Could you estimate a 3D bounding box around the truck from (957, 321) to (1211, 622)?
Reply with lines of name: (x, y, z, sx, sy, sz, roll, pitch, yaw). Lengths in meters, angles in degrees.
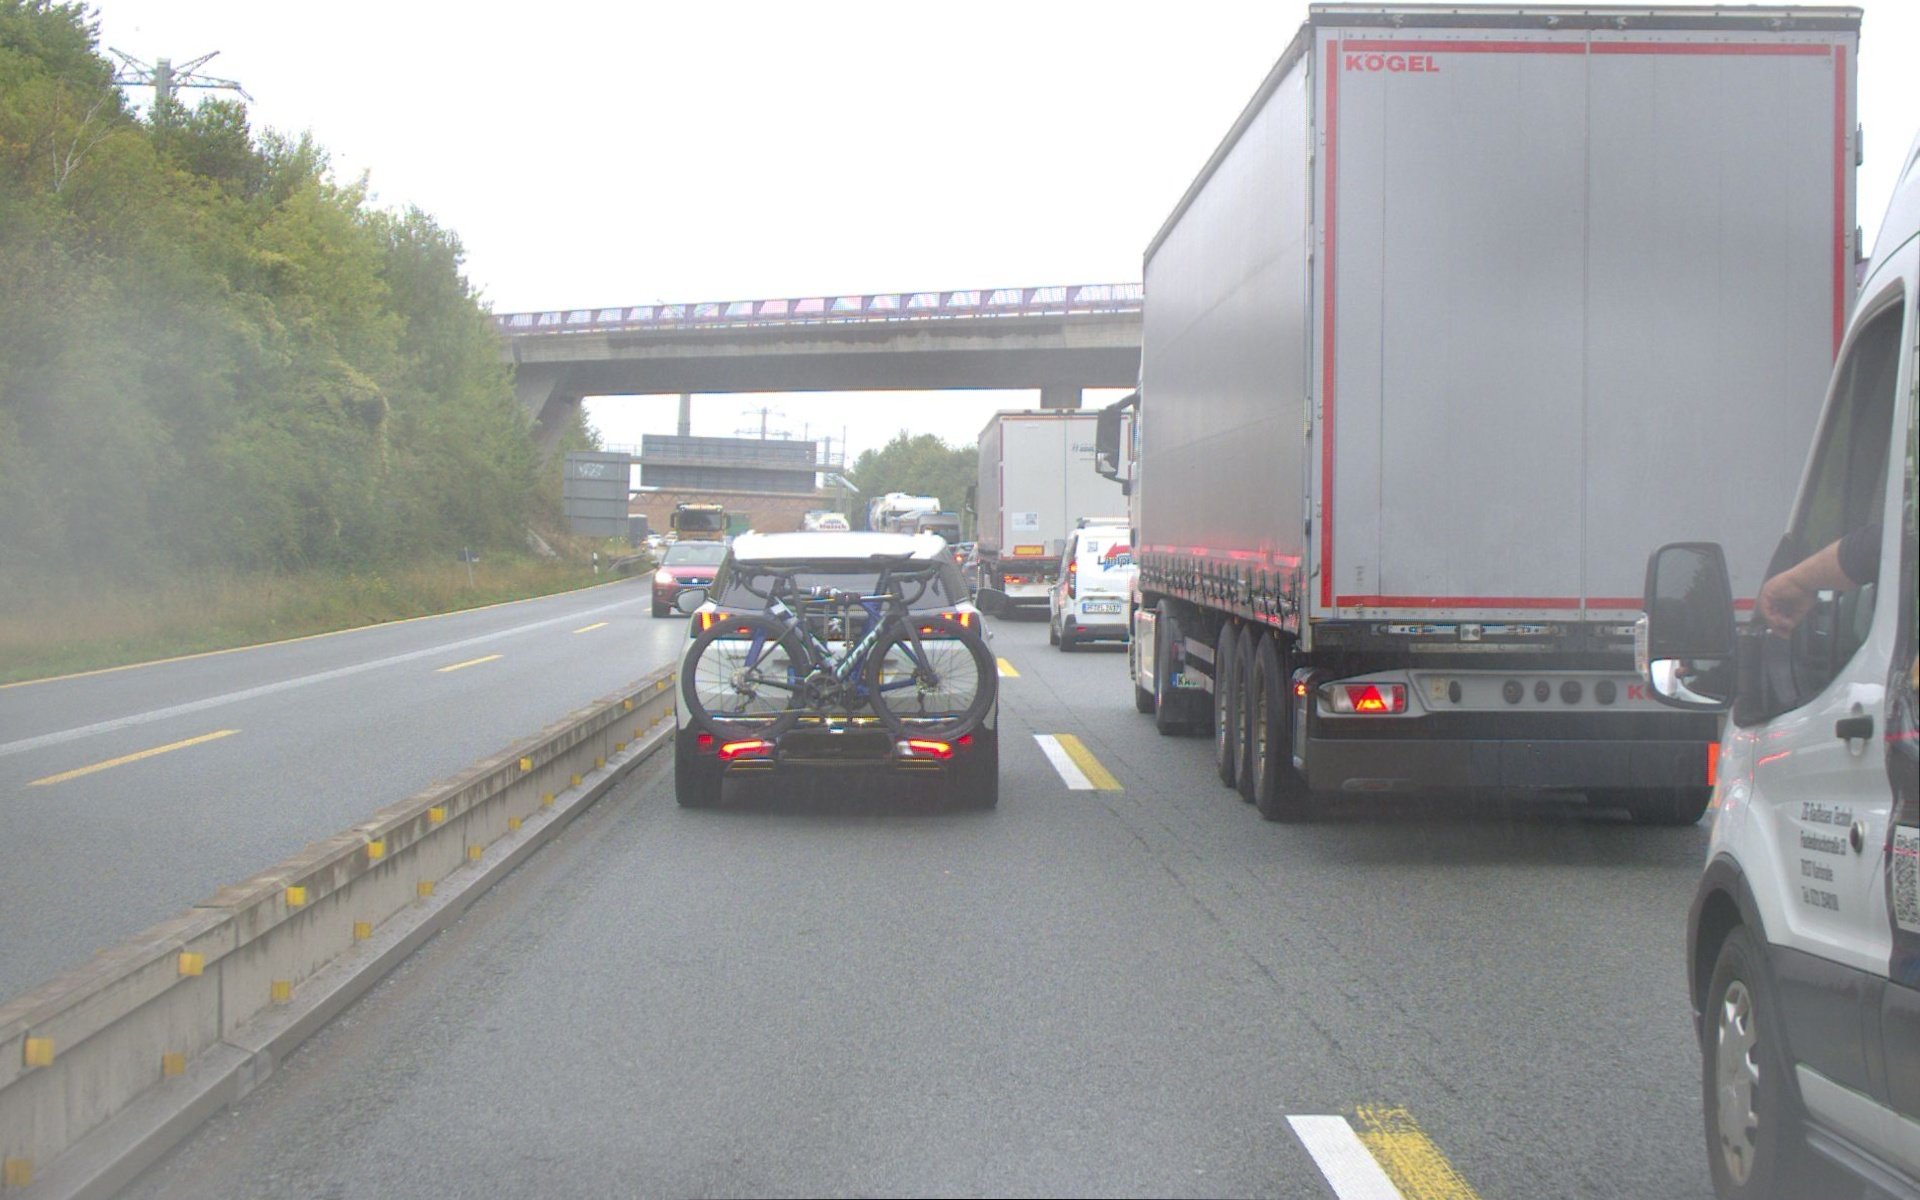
truck: (2.429, -2.542, 75.253, 4.743, 5.654, 20.376, 1, 1, 0)

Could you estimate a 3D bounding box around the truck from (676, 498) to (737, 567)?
truck: (-12.834, -3.385, 174.840, 2.535, 3.341, 12.051, 1, 1, -2)

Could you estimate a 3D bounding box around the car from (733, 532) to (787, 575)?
car: (-7.712, -1.788, 133.089, 1.810, 1.627, 4.118, 1, 1, 0)

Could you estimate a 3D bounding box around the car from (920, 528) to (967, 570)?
car: (-0.606, -1.816, 123.110, 1.638, 1.492, 3.666, 1, 1, -1)

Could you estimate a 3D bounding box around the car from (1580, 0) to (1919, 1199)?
car: (2.587, 0.043, 5.390, 2.144, 2.667, 6.117, 1, 1, 0)

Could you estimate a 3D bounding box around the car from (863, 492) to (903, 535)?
car: (-3.913, -4.395, 175.663, 1.993, 2.119, 4.527, 1, 1, -1)

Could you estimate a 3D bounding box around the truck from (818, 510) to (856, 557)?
truck: (-8.834, -4.749, 247.797, 2.535, 3.341, 12.051, 1, 1, -2)

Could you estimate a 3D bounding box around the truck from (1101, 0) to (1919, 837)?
truck: (3.389, -1.912, 25.264, 3.979, 5.654, 20.376, 1, 1, 0)

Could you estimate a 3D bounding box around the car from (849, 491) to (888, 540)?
car: (-4.922, -4.511, 184.770, 1.993, 2.535, 4.527, 1, 1, -1)

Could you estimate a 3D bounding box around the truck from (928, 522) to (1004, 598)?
truck: (0.147, -1.088, 93.366, 1.993, 2.007, 4.000, 1, 1, -1)

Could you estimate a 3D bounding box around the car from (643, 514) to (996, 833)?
car: (-0.706, 0.352, 20.059, 1.810, 1.632, 4.635, 1, 1, 0)

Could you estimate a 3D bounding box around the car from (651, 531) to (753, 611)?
car: (-5.153, -0.591, 69.044, 1.794, 1.550, 4.000, 1, 1, -1)

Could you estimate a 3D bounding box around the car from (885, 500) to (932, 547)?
car: (-2.241, -3.335, 150.183, 1.993, 2.007, 4.000, 1, 1, -1)

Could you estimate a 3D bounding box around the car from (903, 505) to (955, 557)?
car: (-1.230, -2.730, 136.766, 1.993, 2.007, 4.000, 1, 1, -1)

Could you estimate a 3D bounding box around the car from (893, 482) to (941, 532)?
car: (-2.022, -4.394, 163.108, 2.239, 2.299, 4.572, 1, 1, -1)

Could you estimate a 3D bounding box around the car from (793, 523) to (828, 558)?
car: (-7.884, -3.138, 181.345, 1.810, 1.817, 4.636, 1, 1, -2)

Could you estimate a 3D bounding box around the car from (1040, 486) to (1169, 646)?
car: (2.033, -0.496, 49.363, 1.670, 2.173, 4.535, 1, 1, 0)
